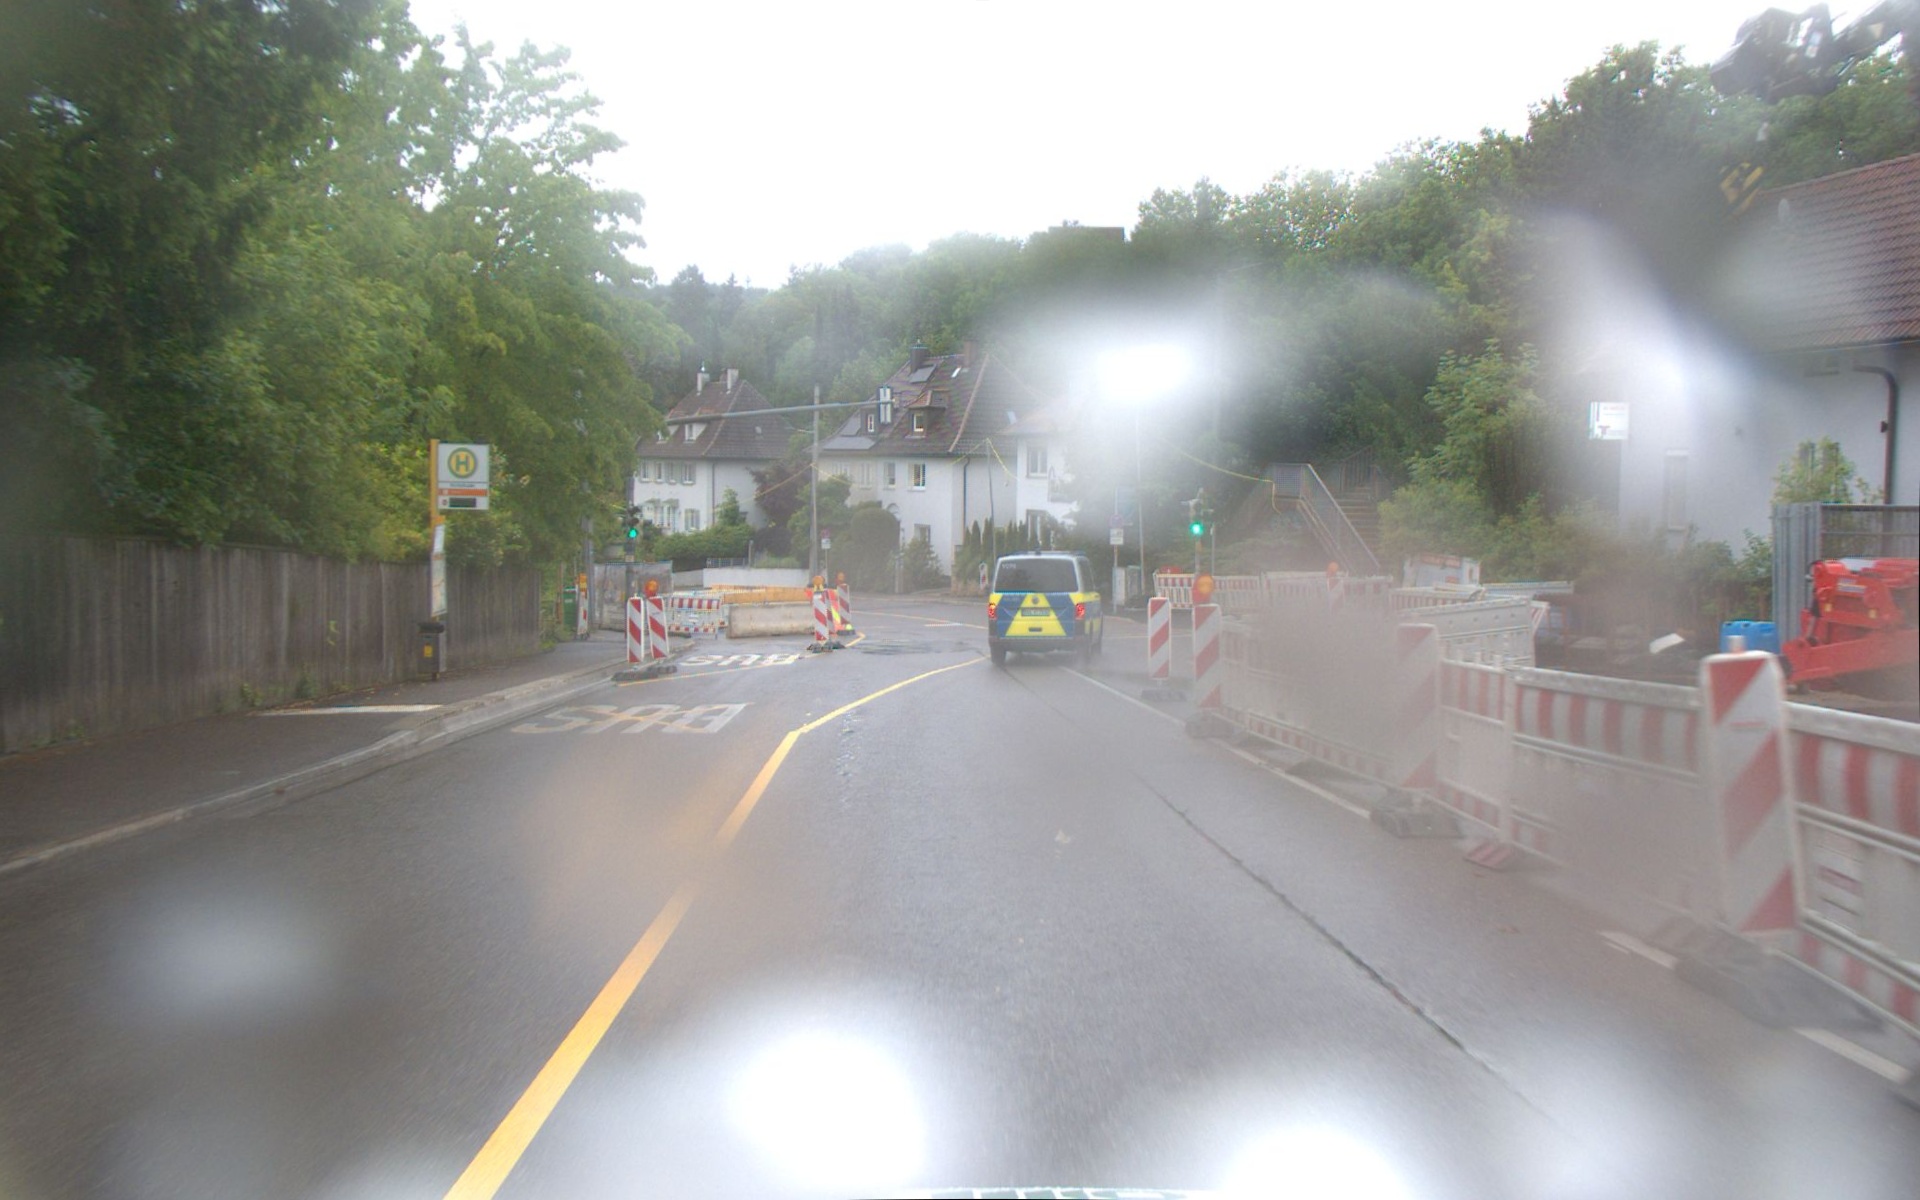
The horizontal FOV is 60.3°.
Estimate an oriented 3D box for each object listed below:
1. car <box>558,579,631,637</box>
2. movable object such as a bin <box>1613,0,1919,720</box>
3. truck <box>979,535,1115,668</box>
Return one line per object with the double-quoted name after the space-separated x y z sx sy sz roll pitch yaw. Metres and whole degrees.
-13.719 0.279 61.907 1.965 2.049 4.776 -1 0 -21 "car"
10.345 -2.406 16.110 6.816 6.806 3.042 0 0 -6 "movable object such as a bin"
1.741 -0.061 31.247 1.951 2.047 4.742 0 5 10 "truck"
